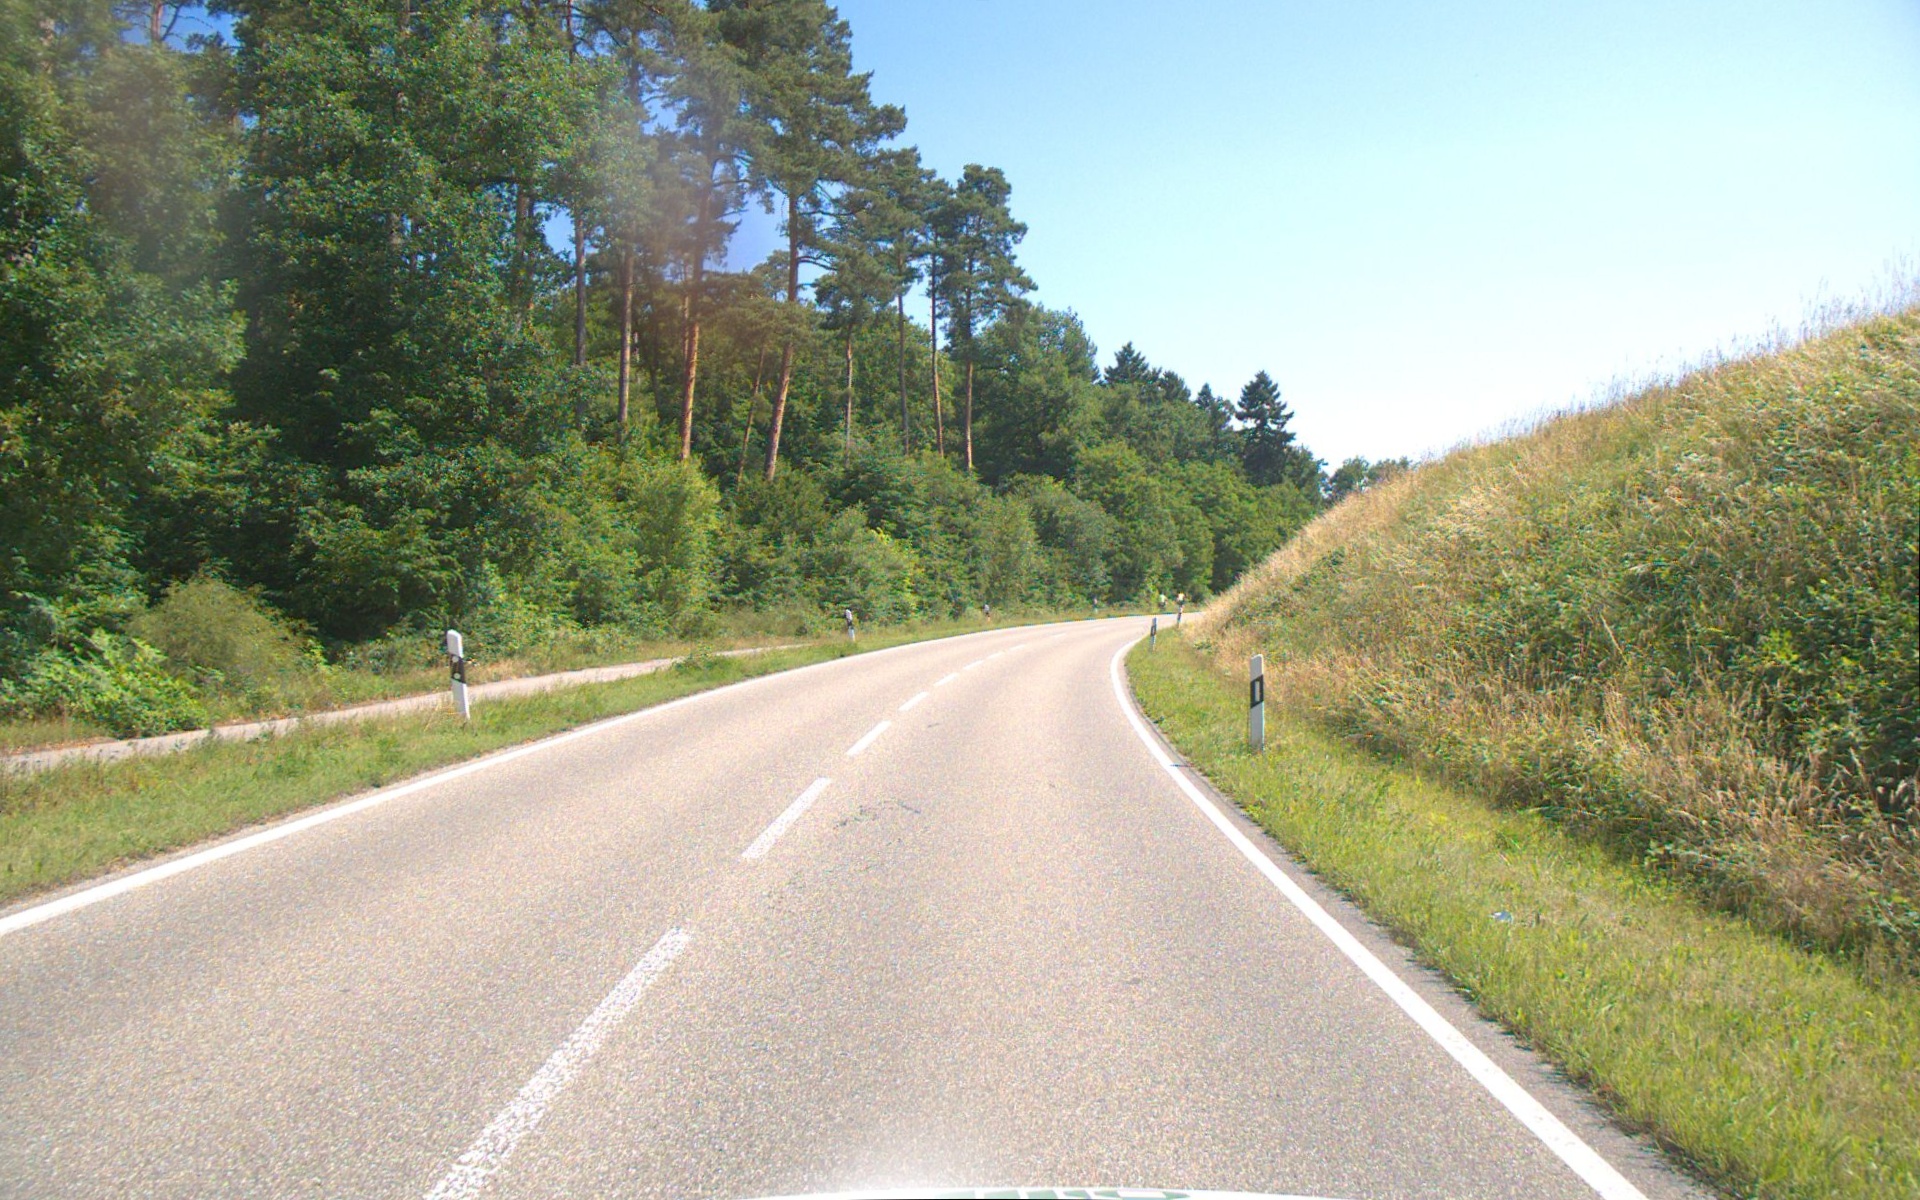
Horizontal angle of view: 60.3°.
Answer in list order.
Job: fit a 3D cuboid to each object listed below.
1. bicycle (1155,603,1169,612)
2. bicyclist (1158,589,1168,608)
[{"bbox_3d":[15.706,0.593,128.453,0.606,0.693,2.137,1,-1,20],"label":"bicycle"},{"bbox_3d":[15.741,-0.145,128.486,0.592,1.440,0.702,1,-1,20],"label":"bicyclist"}]
